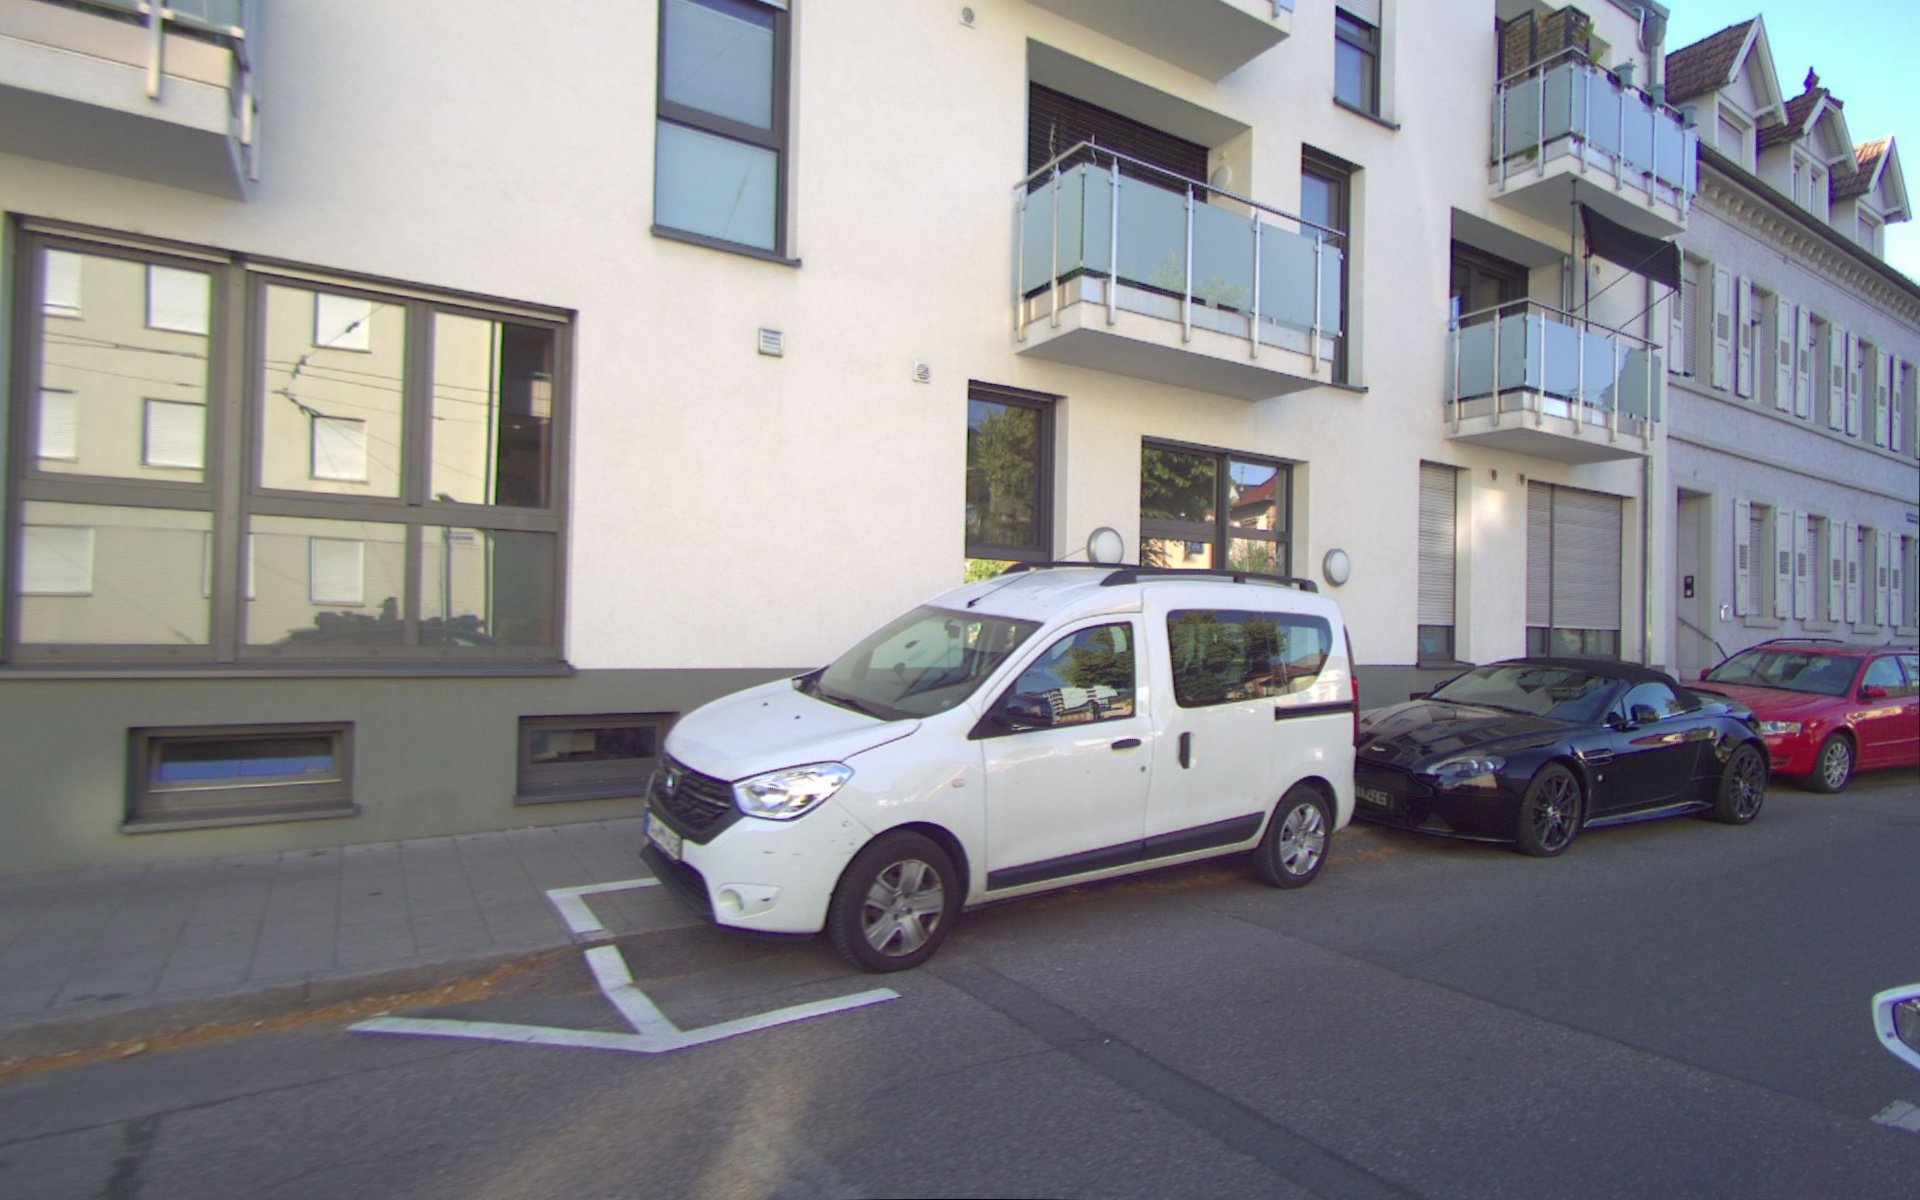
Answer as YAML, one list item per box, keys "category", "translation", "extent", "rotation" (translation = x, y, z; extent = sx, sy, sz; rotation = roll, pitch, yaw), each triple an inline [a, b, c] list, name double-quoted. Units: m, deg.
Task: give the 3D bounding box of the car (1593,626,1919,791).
- category: "car"
  translation: [9.433, 1.107, 11.269]
  extent: [4.528, 1.486, 1.704]
  rotation: [1, 1, -24]

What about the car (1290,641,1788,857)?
- category: "car"
  translation: [4.760, 1.077, 8.165]
  extent: [3.977, 1.290, 1.657]
  rotation: [3, 0, -29]

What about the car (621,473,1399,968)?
- category: "car"
  translation: [0.471, 0.529, 5.811]
  extent: [4.288, 1.894, 1.800]
  rotation: [2, -2, -34]

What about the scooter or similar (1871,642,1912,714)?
- category: "scooter or similar"
  translation: [17.171, 1.422, 18.535]
  extent: [0.502, 1.245, 1.532]
  rotation: [2, -1, 42]
